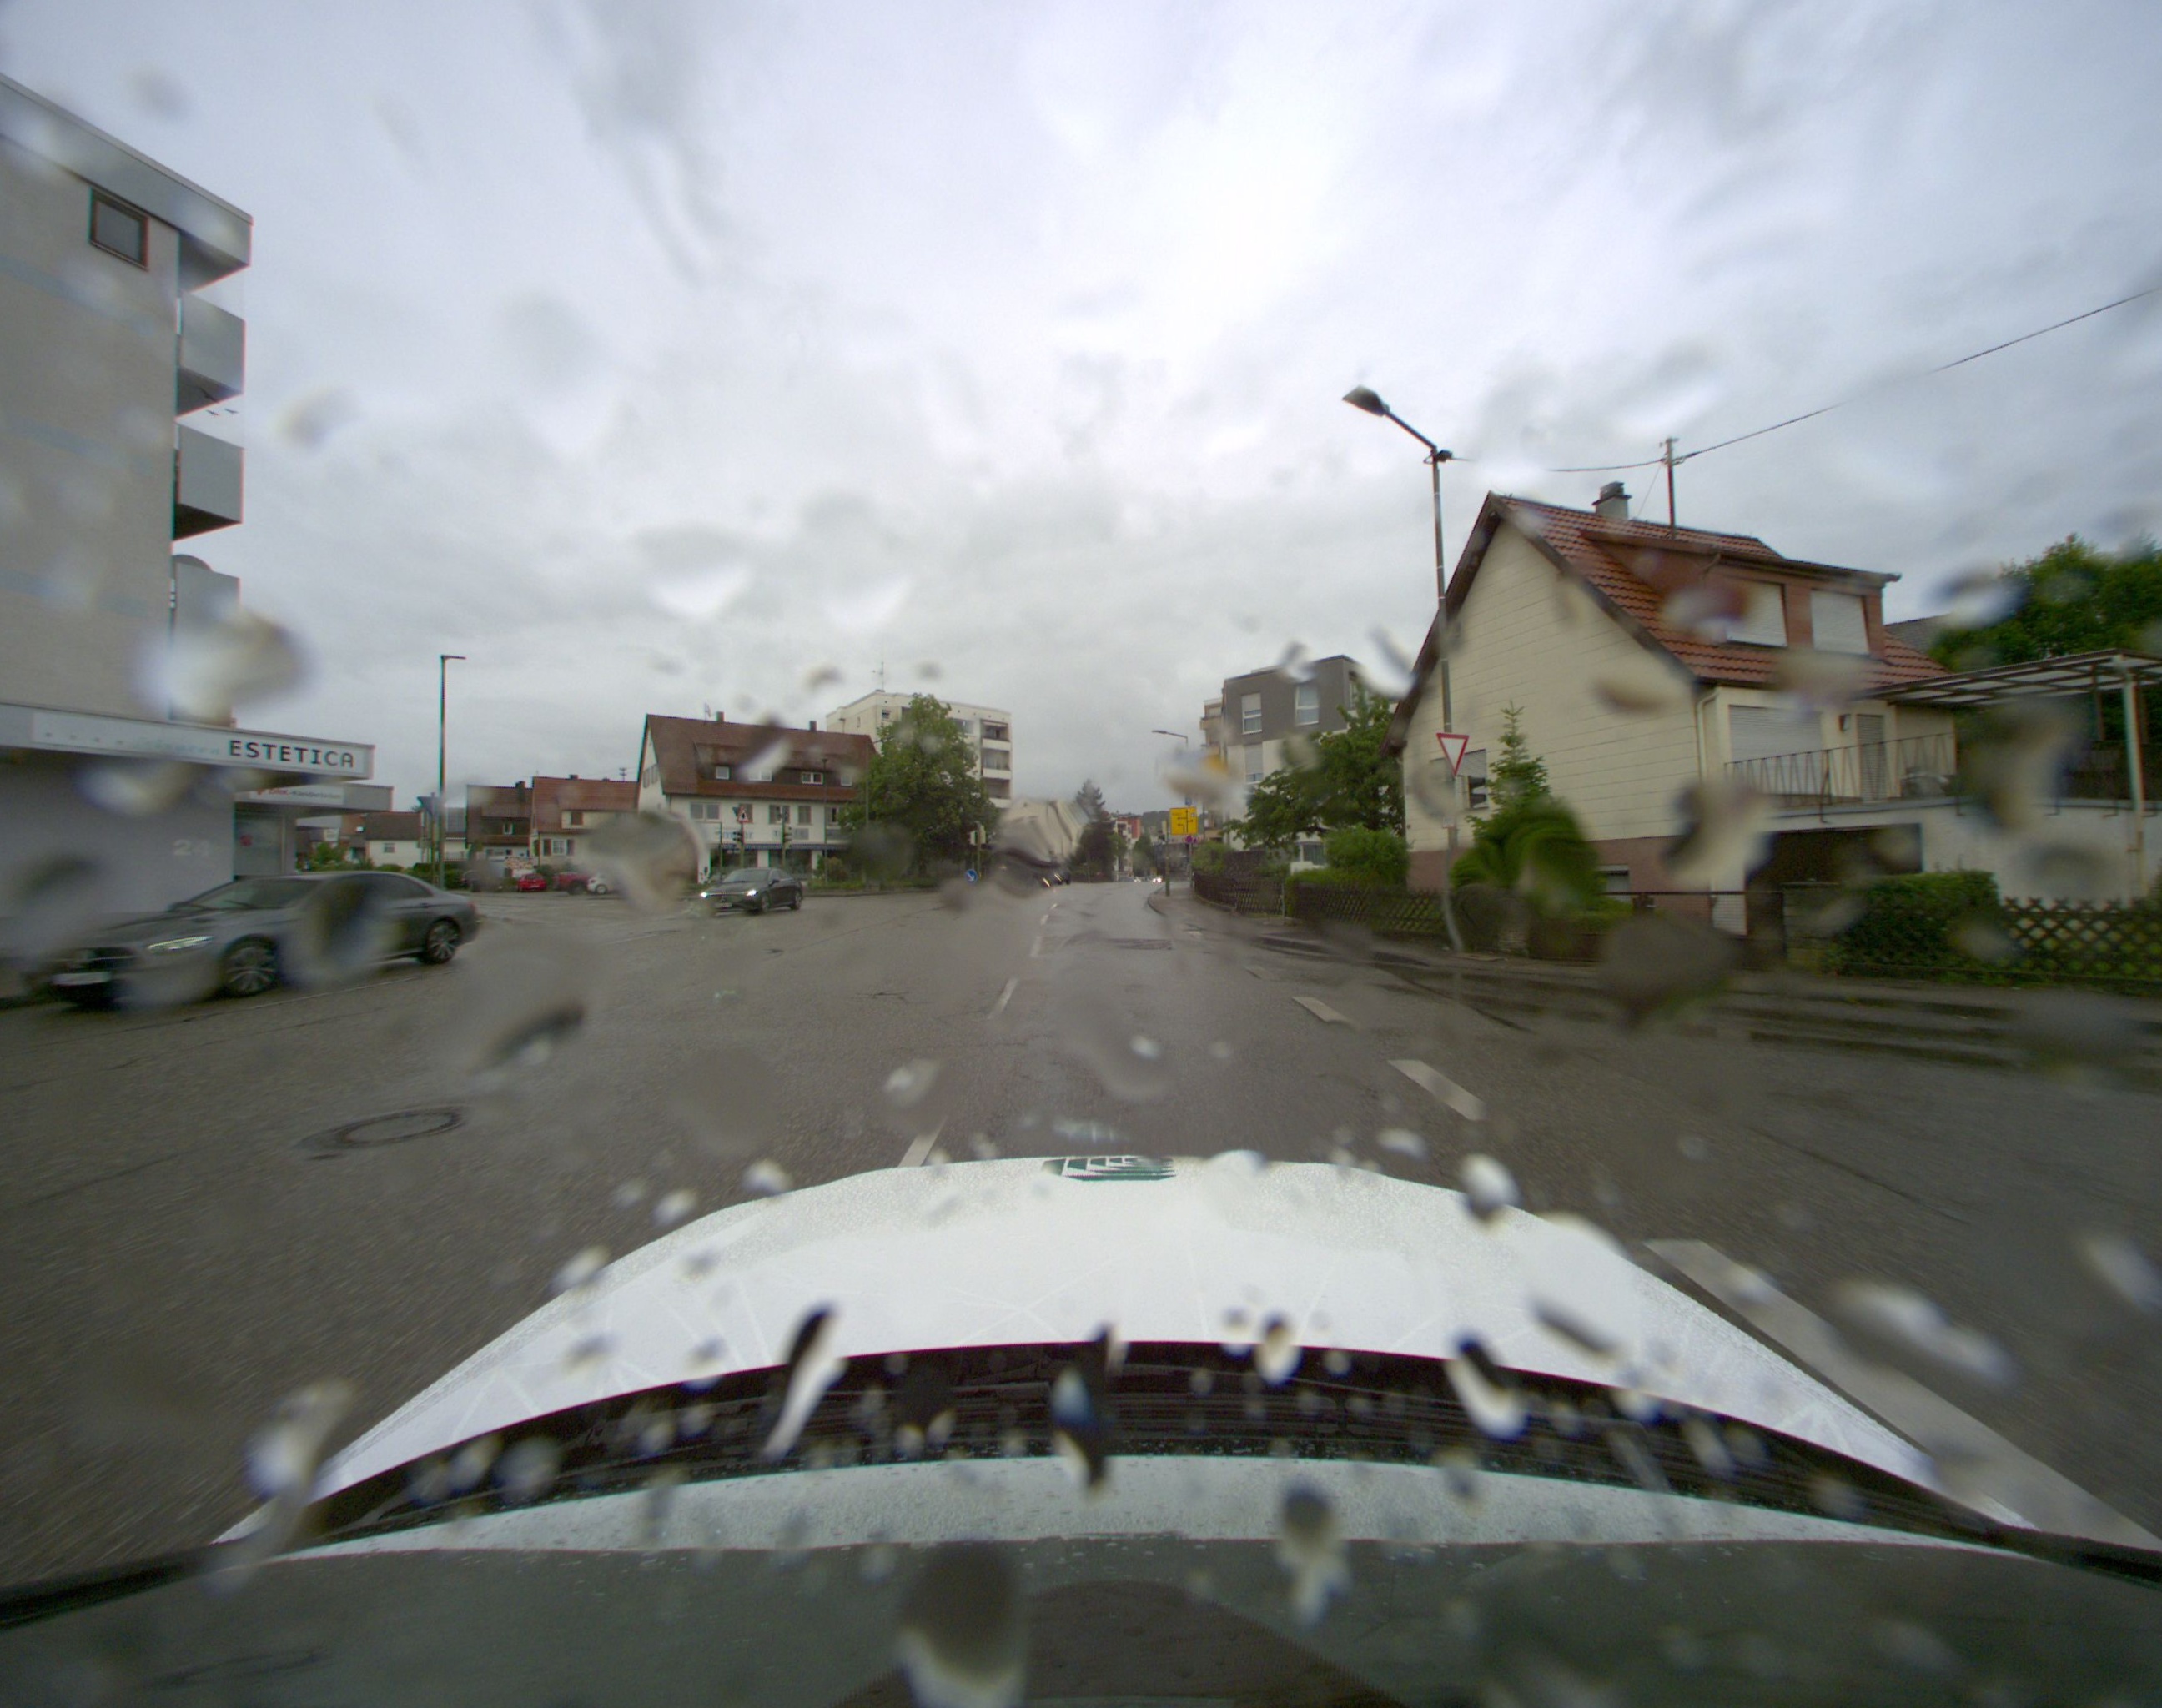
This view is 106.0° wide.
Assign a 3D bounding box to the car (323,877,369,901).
[{"bbox_3d":[-47.512,2.233,52.633,4.233,1.435,1.846,-2,-1,43],"label":"car"}]

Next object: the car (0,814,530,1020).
[{"bbox_3d":[-10.672,0.682,11.299,2.085,2.013,5.973,-3,0,-2],"label":"car"}]

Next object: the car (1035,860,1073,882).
[{"bbox_3d":[-1.975,1.262,61.067,1.790,1.557,4.333,-1,-1,13],"label":"car"}]

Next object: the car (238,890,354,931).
[{"bbox_3d":[-38.016,2.707,39.588,3.938,1.733,1.813,0,-1,-39],"label":"car"}]

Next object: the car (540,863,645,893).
[{"bbox_3d":[-33.079,1.597,55.256,5.883,1.842,1.976,0,-1,-41],"label":"car"}]

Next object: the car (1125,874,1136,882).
[{"bbox_3d":[10.342,4.968,169.470,1.641,1.521,4.337,-2,-2,12],"label":"car"}]

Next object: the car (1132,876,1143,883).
[{"bbox_3d":[12.572,5.584,180.628,1.922,1.542,4.534,-2,-2,12],"label":"car"}]

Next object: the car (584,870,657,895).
[{"bbox_3d":[-30.475,1.885,53.915,4.016,1.526,1.979,0,-1,-35],"label":"car"}]

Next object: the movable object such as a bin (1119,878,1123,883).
[{"bbox_3d":[8.051,5.336,165.535,0.643,0.966,0.684,-2,-3,11],"label":"movable object such as a bin"}]

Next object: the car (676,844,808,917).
[{"bbox_3d":[-10.398,0.775,25.438,1.986,2.014,4.654,-1,-1,2],"label":"car"}]
